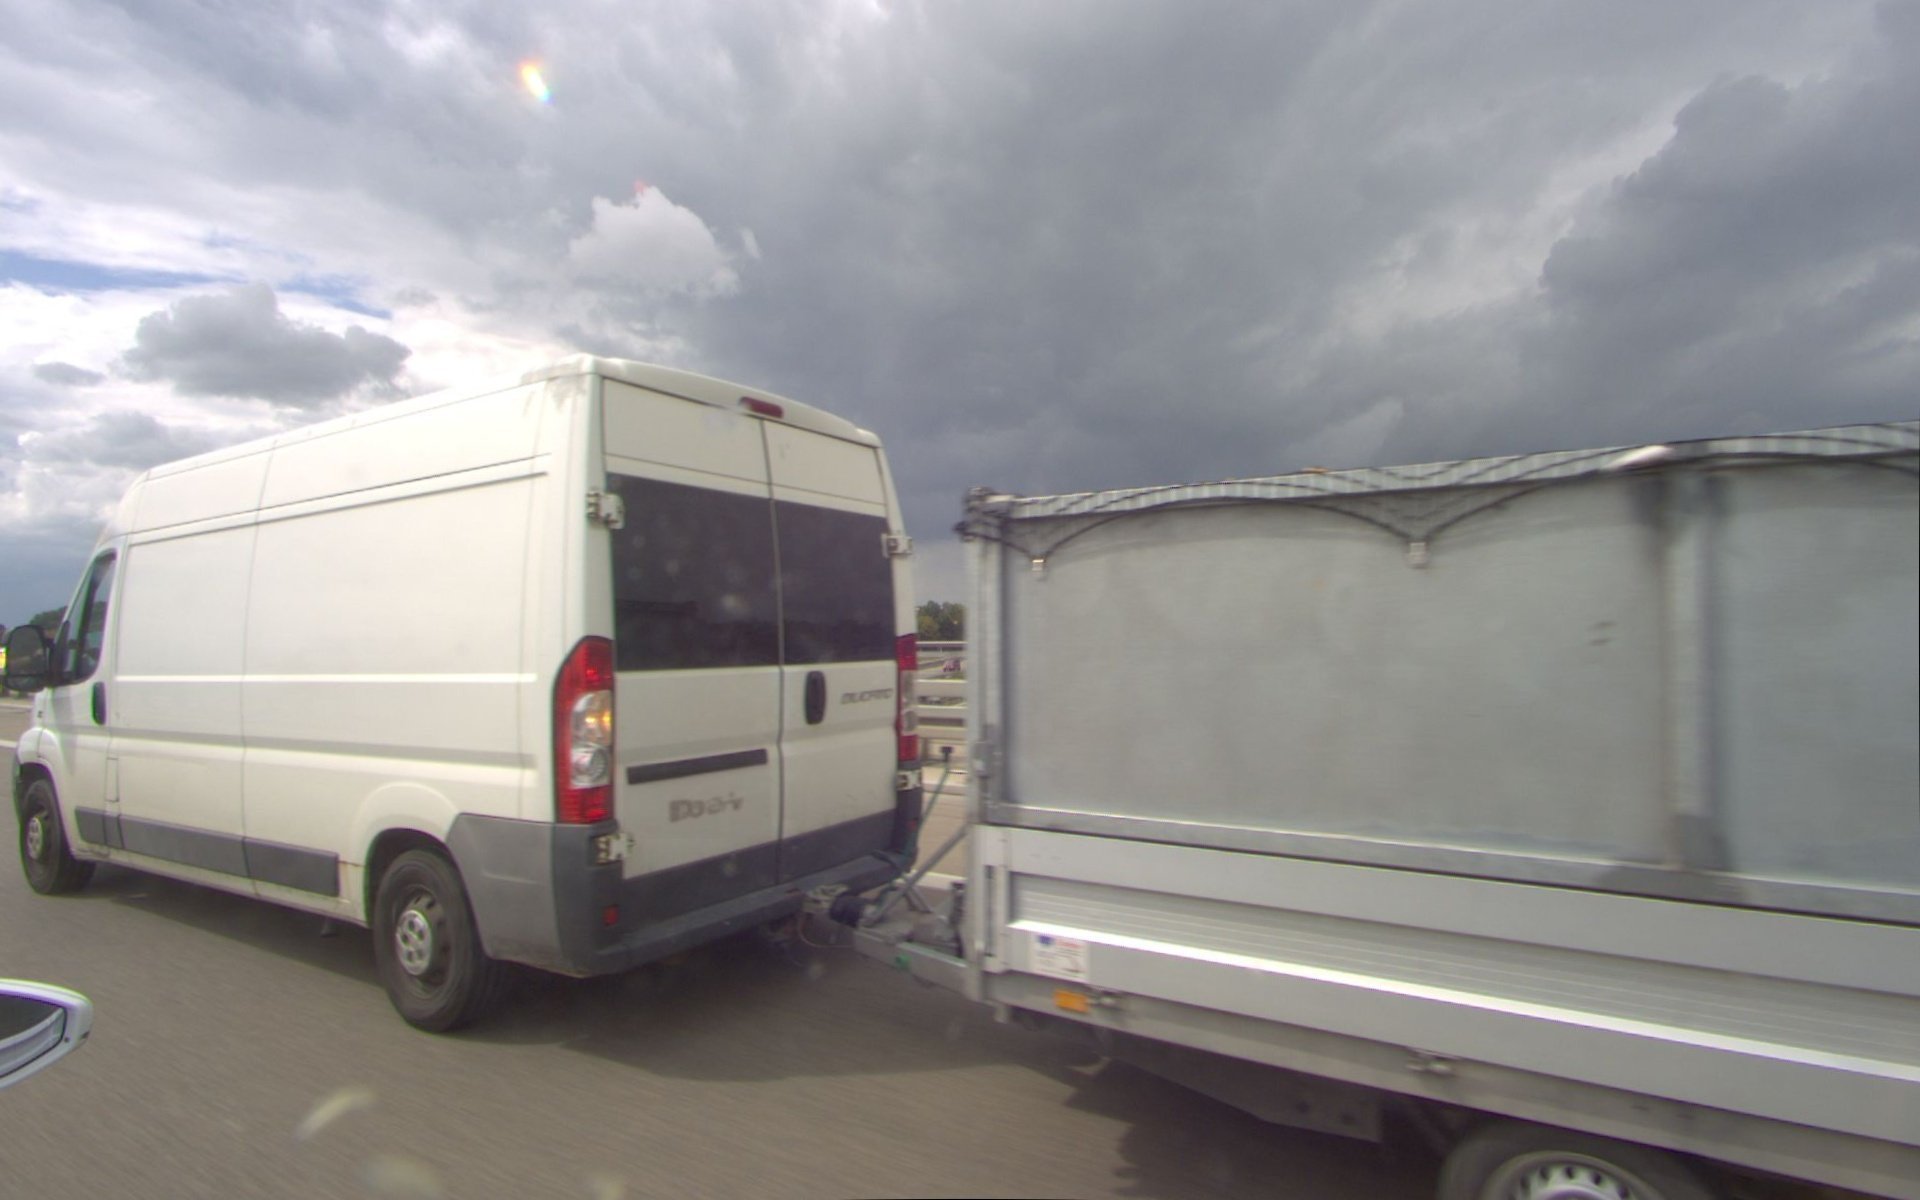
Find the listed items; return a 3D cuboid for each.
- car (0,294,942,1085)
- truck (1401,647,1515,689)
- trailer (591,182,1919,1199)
[{"bbox_3d":[-3.205,0.354,5.661,6.063,2.485,2.111,-1,-2,32],"label":"car"},{"bbox_3d":[68.240,9.239,137.940,3.803,5.281,14.797,1,-2,-27],"label":"truck"},{"bbox_3d":[1.261,0.417,2.736,4.564,2.039,1.852,-1,-2,32],"label":"trailer"}]
